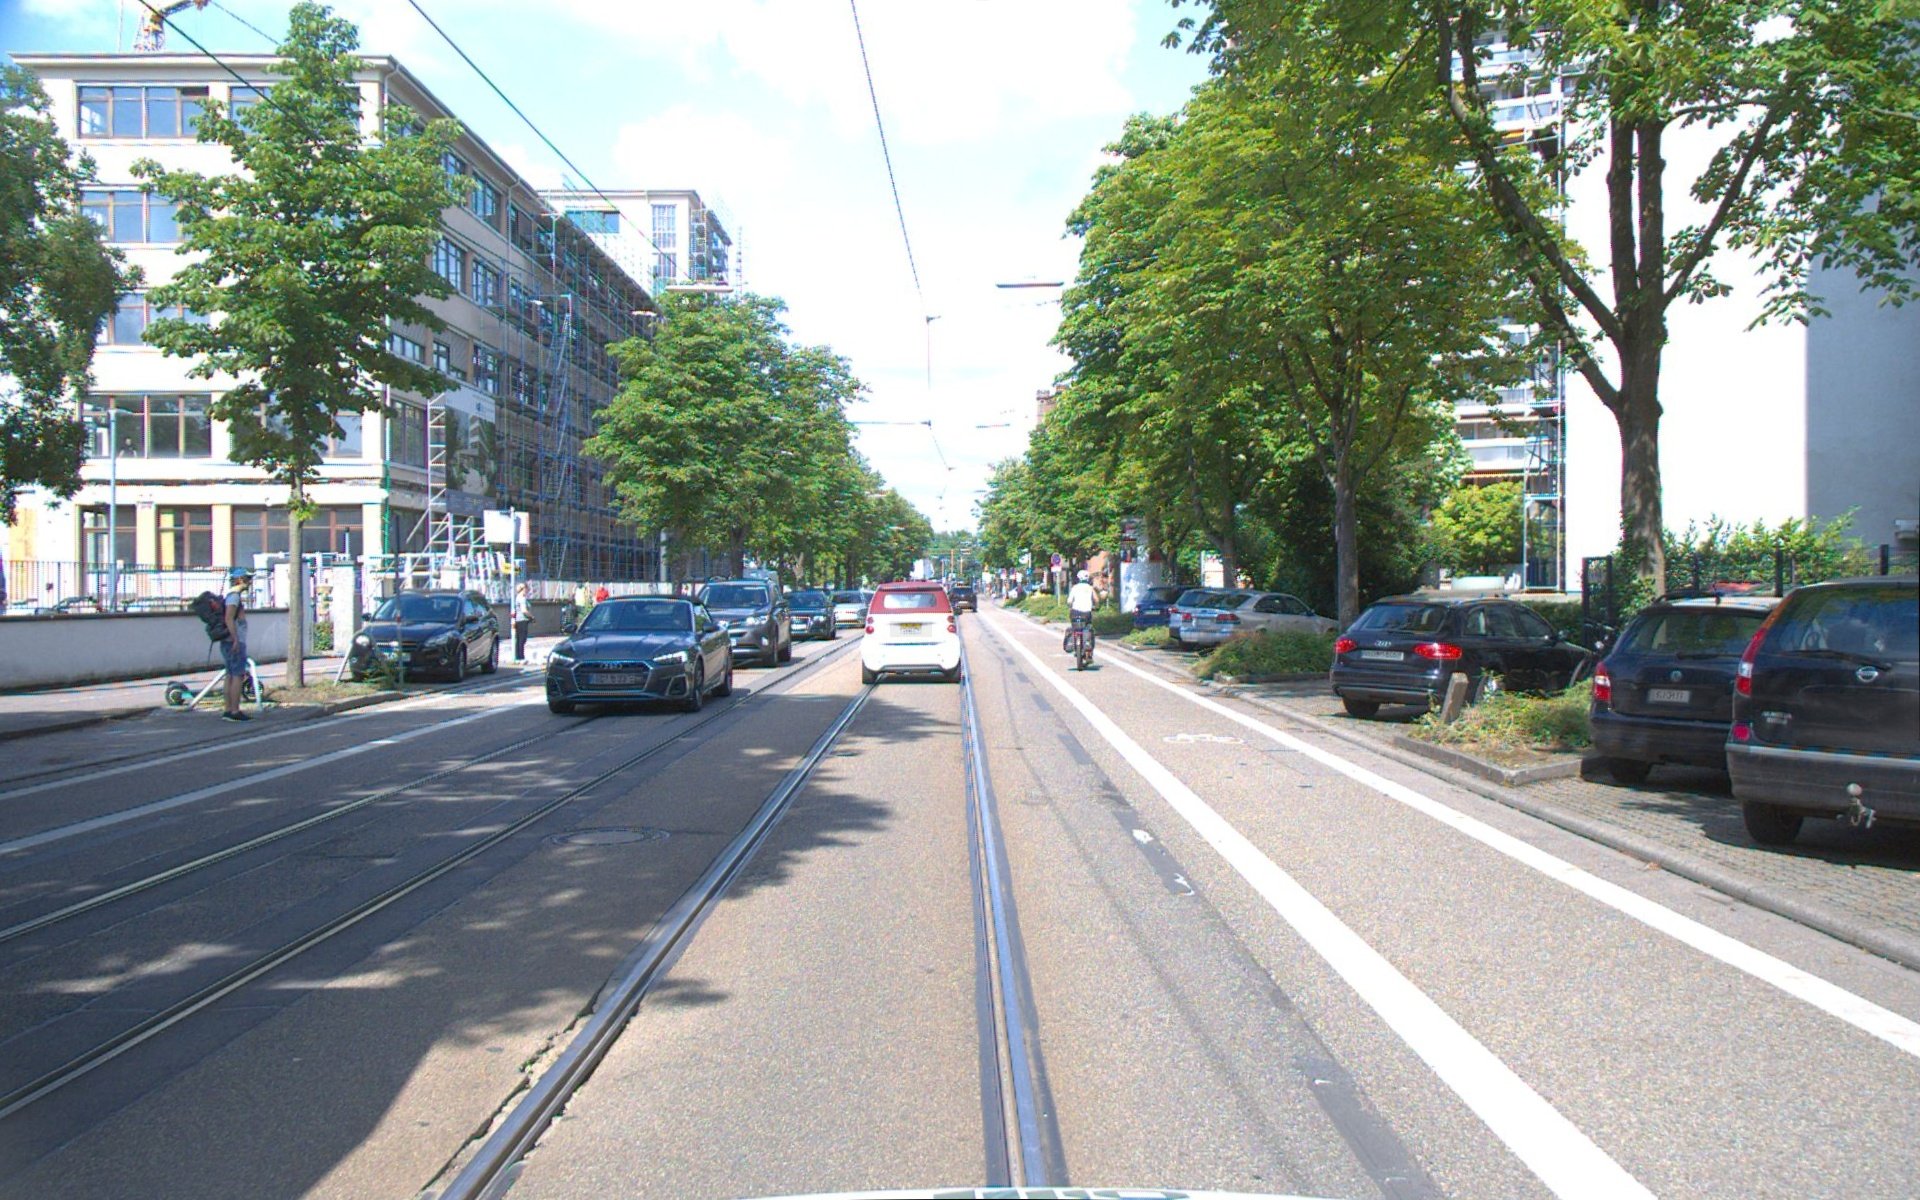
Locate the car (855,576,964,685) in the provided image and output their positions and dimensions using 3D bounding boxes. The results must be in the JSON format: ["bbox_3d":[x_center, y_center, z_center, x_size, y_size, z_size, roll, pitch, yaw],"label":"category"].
[{"bbox_3d":[-0.785,0.439,26.708,1.631,1.653,3.620,0,1,-1],"label":"car"}]

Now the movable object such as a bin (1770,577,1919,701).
[{"bbox_3d":[11.670,0.497,21.803,1.249,1.566,1.469,1,0,0],"label":"movable object such as a bin"}]

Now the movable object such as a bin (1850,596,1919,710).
[{"bbox_3d":[11.806,0.633,20.124,1.249,1.341,1.325,1,0,0],"label":"movable object such as a bin"}]

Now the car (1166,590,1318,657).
[{"bbox_3d":[6.833,0.536,39.877,3.773,1.500,1.628,0,1,-42],"label":"car"}]

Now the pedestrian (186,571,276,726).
[{"bbox_3d":[-8.681,0.566,19.718,0.736,1.797,0.789,1,0,-6],"label":"pedestrian"}]

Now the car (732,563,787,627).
[{"bbox_3d":[-8.867,-0.208,73.560,1.733,2.685,5.321,-2,0,0],"label":"car"}]

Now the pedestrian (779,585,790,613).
[{"bbox_3d":[-12.981,-0.052,122.644,0.788,2.049,0.484,0,0,-9],"label":"pedestrian"}]

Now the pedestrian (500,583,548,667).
[{"bbox_3d":[-8.830,0.497,33.480,0.719,1.665,0.684,1,0,-34],"label":"pedestrian"}]

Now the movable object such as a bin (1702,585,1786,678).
[{"bbox_3d":[13.273,0.514,27.988,1.239,1.506,0.936,1,1,27],"label":"movable object such as a bin"}]

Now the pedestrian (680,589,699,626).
[{"bbox_3d":[-12.442,0.344,76.046,0.749,1.648,0.594,1,0,0],"label":"pedestrian"}]

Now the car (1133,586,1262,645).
[{"bbox_3d":[6.725,0.417,46.590,1.588,1.512,3.973,-1,0,44],"label":"car"}]

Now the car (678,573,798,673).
[{"bbox_3d":[-4.219,0.414,32.058,1.789,1.757,4.390,1,0,-1],"label":"car"}]

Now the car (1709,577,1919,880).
[{"bbox_3d":[6.443,0.707,10.262,3.967,1.602,1.876,1,0,-43],"label":"car"}]

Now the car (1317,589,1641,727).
[{"bbox_3d":[6.430,0.672,20.207,1.997,1.467,4.505,1,0,44],"label":"car"}]

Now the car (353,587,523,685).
[{"bbox_3d":[-8.981,0.577,28.843,1.714,1.543,4.589,1,0,-3],"label":"car"}]

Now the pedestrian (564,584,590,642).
[{"bbox_3d":[-12.247,0.407,52.909,0.693,1.824,0.661,1,0,-6],"label":"pedestrian"}]

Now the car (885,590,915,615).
[{"bbox_3d":[-3.876,0.159,108.001,1.763,1.534,4.536,0,0,0],"label":"car"}]

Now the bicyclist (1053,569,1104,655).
[{"bbox_3d":[2.213,0.213,30.801,0.871,1.555,1.086,1,0,6],"label":"bicyclist"}]

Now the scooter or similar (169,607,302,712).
[{"bbox_3d":[-9.318,0.752,21.316,1.311,1.302,0.855,1,0,-2],"label":"scooter or similar"}]

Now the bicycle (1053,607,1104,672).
[{"bbox_3d":[2.217,0.718,30.747,0.856,1.145,2.137,1,0,6],"label":"bicycle"}]

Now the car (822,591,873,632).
[{"bbox_3d":[-4.306,0.421,63.714,1.737,1.441,3.851,-2,0,-1],"label":"car"}]

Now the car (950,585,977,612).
[{"bbox_3d":[0.199,-0.099,100.940,1.631,1.653,3.620,0,0,-1],"label":"car"}]

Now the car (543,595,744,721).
[{"bbox_3d":[-3.942,0.666,21.305,1.762,1.412,4.425,-1,0,-1],"label":"car"}]

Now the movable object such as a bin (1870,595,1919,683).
[{"bbox_3d":[15.574,0.618,26.760,1.184,1.361,1.264,-2,0,15],"label":"movable object such as a bin"}]

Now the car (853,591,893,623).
[{"bbox_3d":[-4.037,0.316,77.390,1.652,1.430,4.226,0,0,0],"label":"car"}]

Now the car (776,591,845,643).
[{"bbox_3d":[-4.313,0.471,48.139,1.688,1.400,3.999,-2,0,-1],"label":"car"}]

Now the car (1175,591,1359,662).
[{"bbox_3d":[6.853,0.549,36.766,4.200,1.445,1.700,0,1,-39],"label":"car"}]

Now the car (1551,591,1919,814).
[{"bbox_3d":[6.603,0.707,13.637,1.698,1.468,4.046,3,3,45],"label":"car"}]

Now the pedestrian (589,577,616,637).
[{"bbox_3d":[-11.462,0.221,53.007,0.694,1.863,0.661,3,1,-6],"label":"pedestrian"}]
